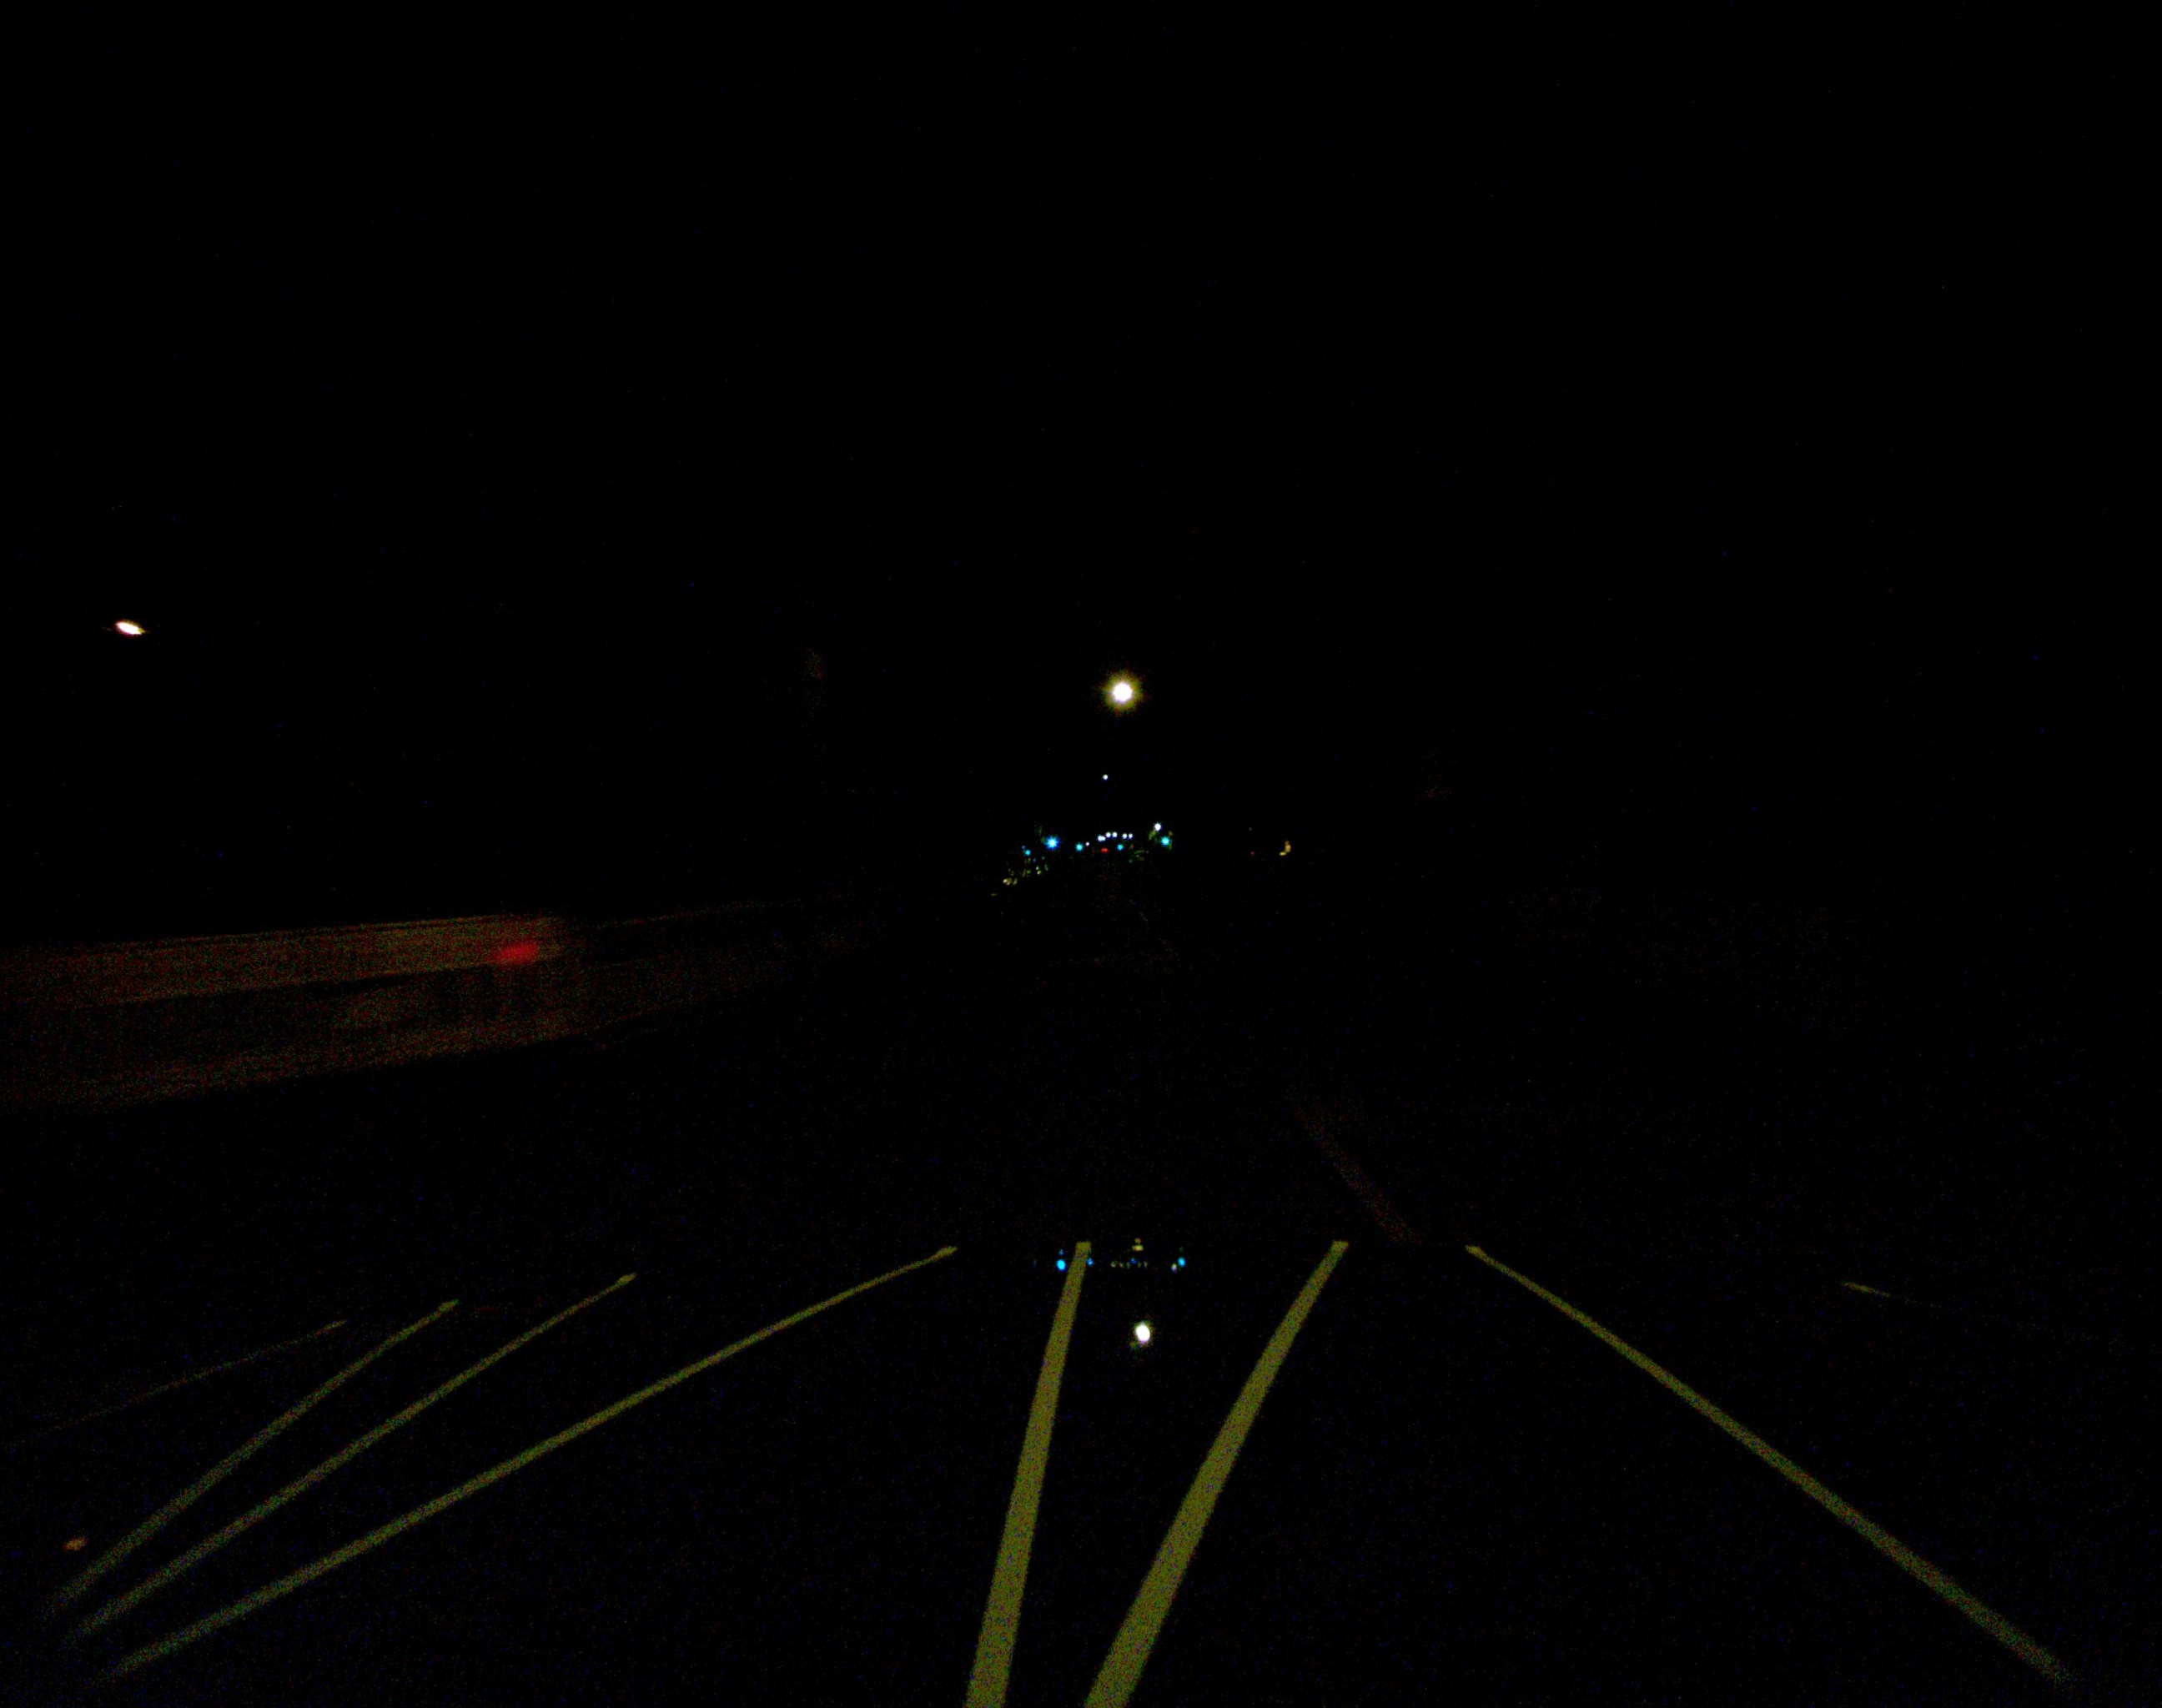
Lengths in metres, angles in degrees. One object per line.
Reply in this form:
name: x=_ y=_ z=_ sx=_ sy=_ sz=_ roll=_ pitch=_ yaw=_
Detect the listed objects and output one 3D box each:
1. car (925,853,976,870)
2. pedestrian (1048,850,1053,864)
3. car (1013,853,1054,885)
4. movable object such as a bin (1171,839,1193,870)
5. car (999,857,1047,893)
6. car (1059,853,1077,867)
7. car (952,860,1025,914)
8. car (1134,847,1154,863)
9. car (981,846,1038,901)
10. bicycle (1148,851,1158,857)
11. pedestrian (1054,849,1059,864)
car: x=-11.438 y=0.671 z=66.631 sx=4.202 sy=1.459 sz=1.851 roll=0 pitch=1 yaw=-2
pedestrian: x=-3.635 y=0.321 z=89.913 sx=0.477 sy=1.699 sz=0.571 roll=0 pitch=1 yaw=2
car: x=-2.375 y=0.715 z=38.858 sx=1.744 sy=1.469 sz=4.000 roll=2 pitch=0 yaw=2
movable object such as a bin: x=8.753 y=0.056 z=66.130 sx=1.575 sy=2.611 sz=3.910 roll=0 pitch=1 yaw=2
car: x=-2.466 y=0.869 z=33.339 sx=1.690 sy=1.412 sz=4.443 roll=0 pitch=0 yaw=1
car: x=-1.475 y=0.673 z=86.917 sx=1.740 sy=1.446 sz=4.000 roll=0 pitch=1 yaw=3
car: x=-2.685 y=0.916 z=22.850 sx=1.732 sy=1.411 sz=4.322 roll=-1 pitch=0 yaw=-1
car: x=7.115 y=0.093 z=86.850 sx=1.887 sy=1.832 sz=4.814 roll=-1 pitch=0 yaw=0
car: x=-2.533 y=0.664 z=27.809 sx=1.740 sy=1.844 sz=4.316 roll=0 pitch=0 yaw=0
bicycle: x=12.665 y=0.020 z=133.060 sx=1.772 sy=1.144 sz=0.583 roll=0 pitch=1 yaw=43
pedestrian: x=-2.873 y=0.269 z=89.957 sx=0.508 sy=1.699 sz=0.705 roll=0 pitch=1 yaw=2
